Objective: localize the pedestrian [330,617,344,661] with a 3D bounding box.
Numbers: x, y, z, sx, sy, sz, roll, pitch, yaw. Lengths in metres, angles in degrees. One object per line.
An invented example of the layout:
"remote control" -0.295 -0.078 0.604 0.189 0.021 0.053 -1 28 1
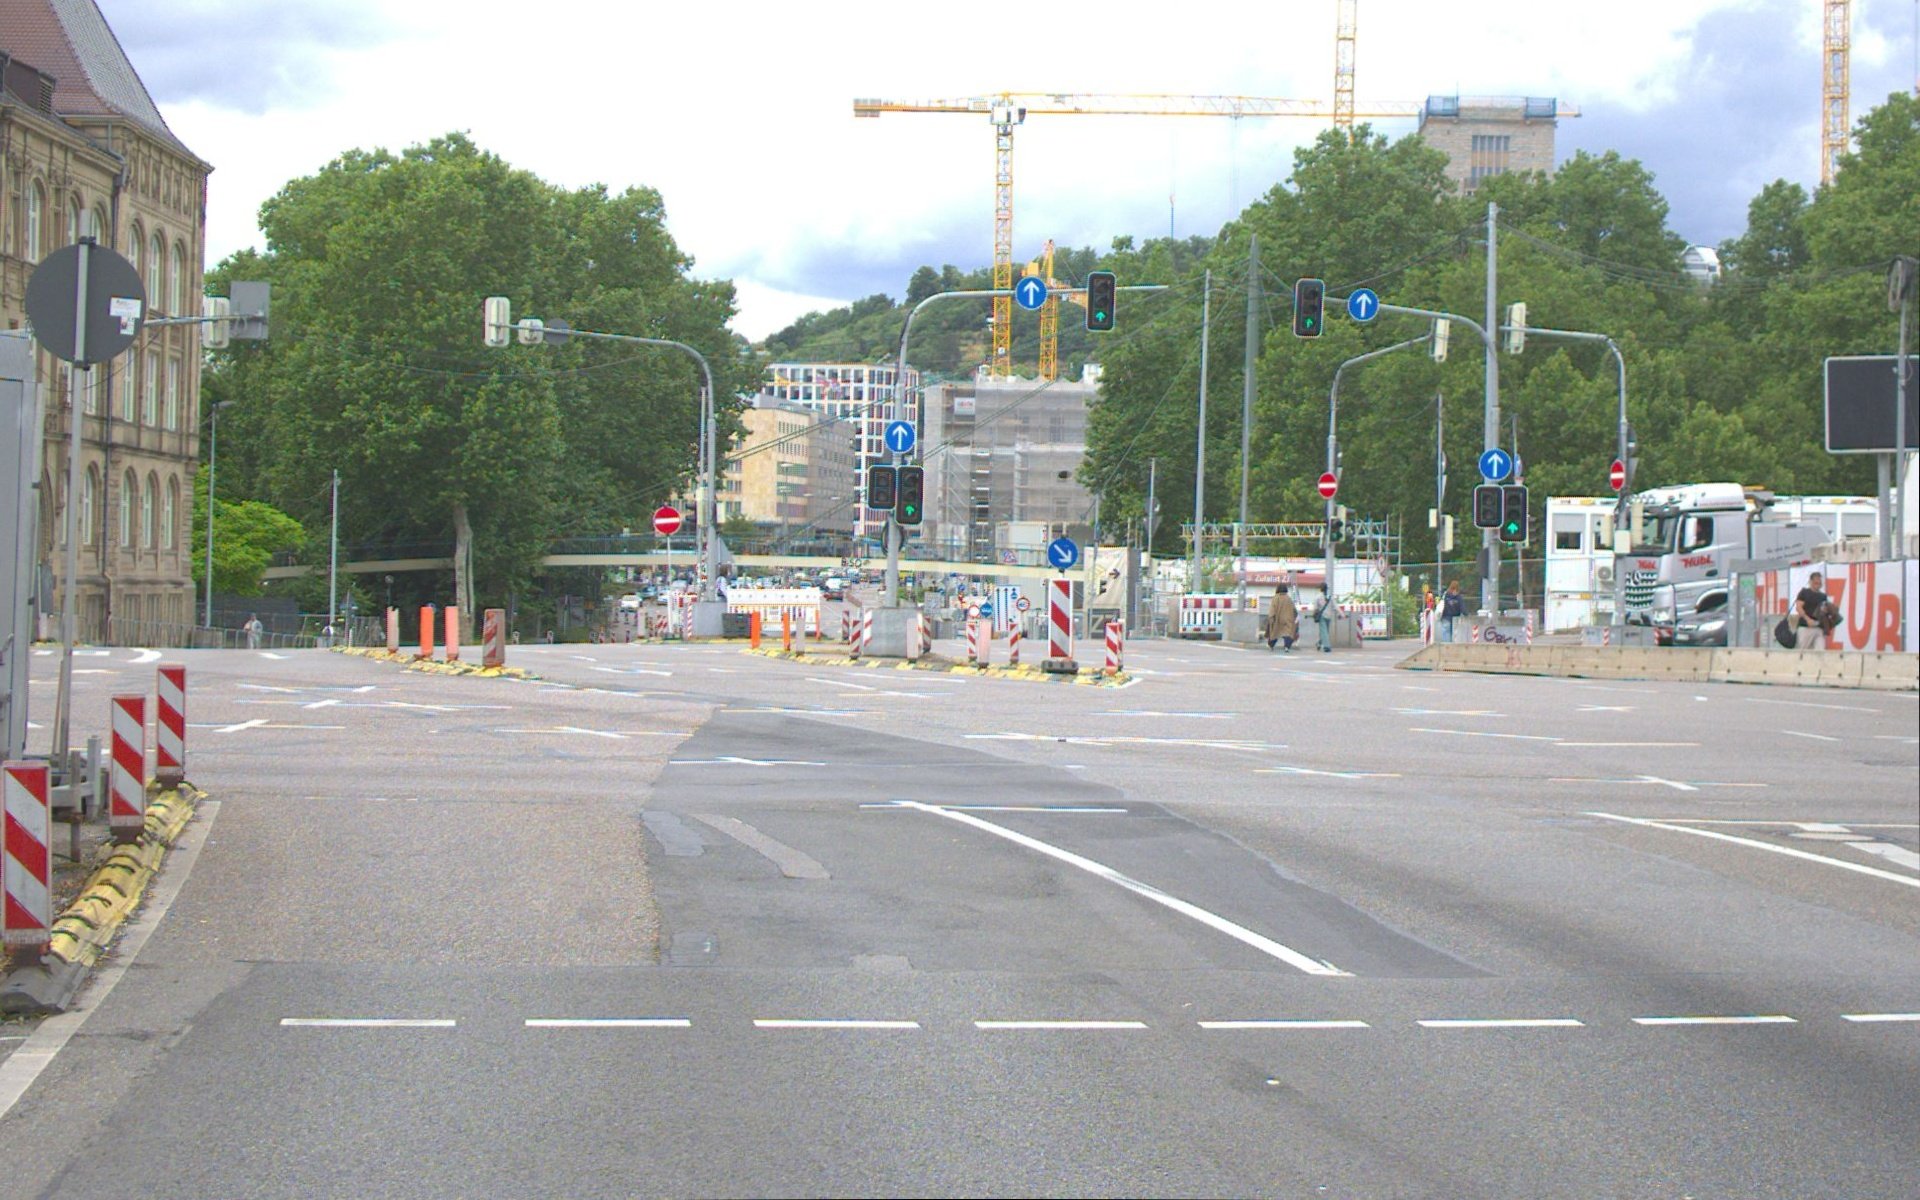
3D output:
"pedestrian" -28.744 1.808 158.613 0.524 2.007 0.567 1 1 0

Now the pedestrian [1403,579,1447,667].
"pedestrian" 9.134 0.448 67.551 0.729 1.683 0.678 1 1 -1

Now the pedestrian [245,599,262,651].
"pedestrian" -27.396 0.979 133.276 0.524 2.007 0.567 1 1 0

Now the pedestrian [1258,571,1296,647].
"pedestrian" 7.124 0.203 77.265 0.729 1.683 0.678 1 1 -1

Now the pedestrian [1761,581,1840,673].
"pedestrian" 12.949 0.409 52.962 0.796 1.373 0.905 1 1 -16

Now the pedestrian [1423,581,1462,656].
"pedestrian" 11.015 0.428 78.463 0.622 1.683 0.710 2 1 29

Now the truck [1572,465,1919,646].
"truck" 21.363 -1.002 82.001 13.022 4.027 3.952 1 1 -20

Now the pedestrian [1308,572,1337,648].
"pedestrian" 8.162 0.213 77.379 0.566 1.683 0.472 1 1 -1
